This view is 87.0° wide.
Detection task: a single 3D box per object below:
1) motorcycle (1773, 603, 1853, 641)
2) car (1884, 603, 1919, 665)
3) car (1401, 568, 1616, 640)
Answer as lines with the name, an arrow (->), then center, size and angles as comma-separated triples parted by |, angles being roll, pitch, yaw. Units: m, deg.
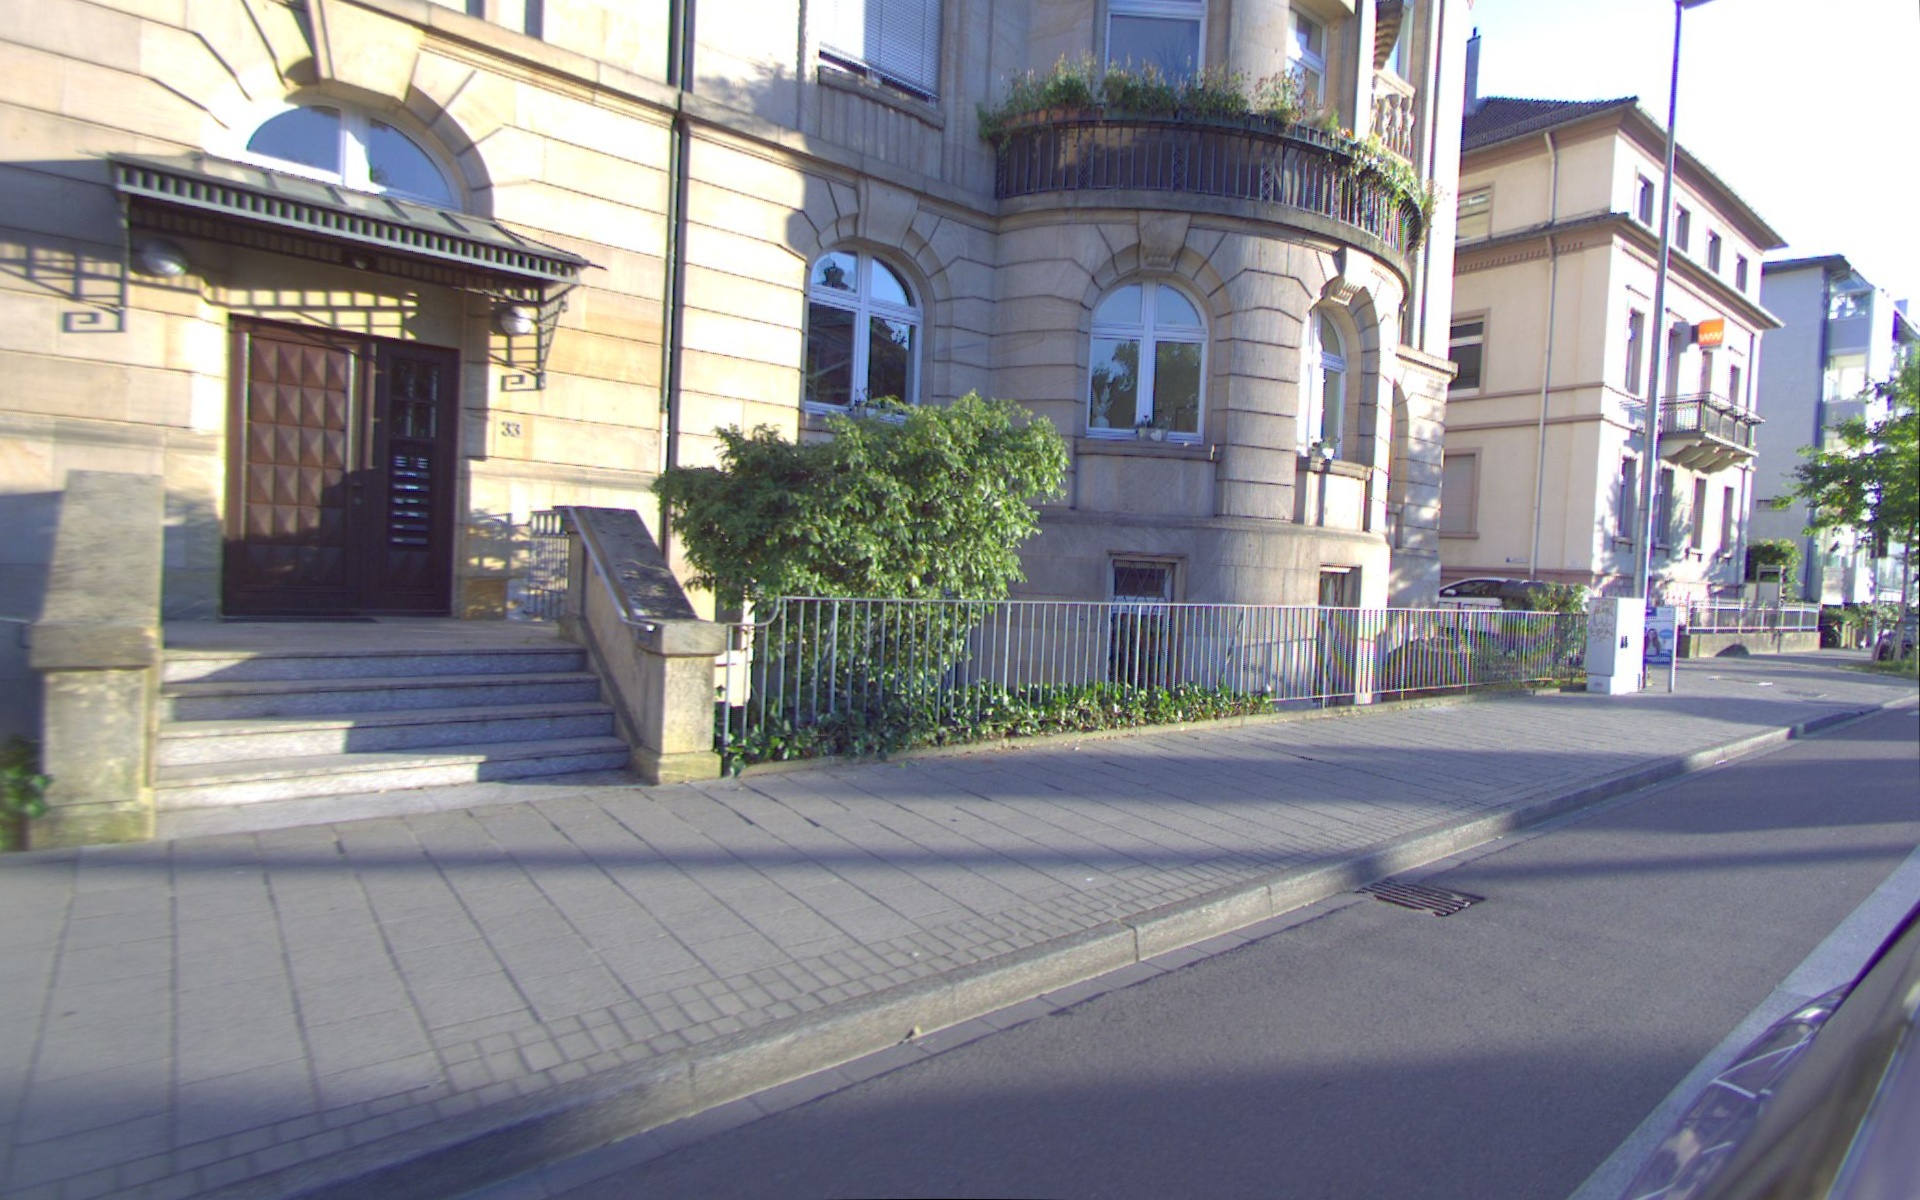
motorcycle -> 27.312, 0.691, 32.427 | 0.564, 1.110, 1.852 | 1, 1, -33
car -> 24.308, 0.846, 24.867 | 4.028, 1.420, 1.881 | 1, 2, -41
car -> 13.099, 0.040, 24.362 | 1.903, 1.499, 4.098 | 1, 2, -38
